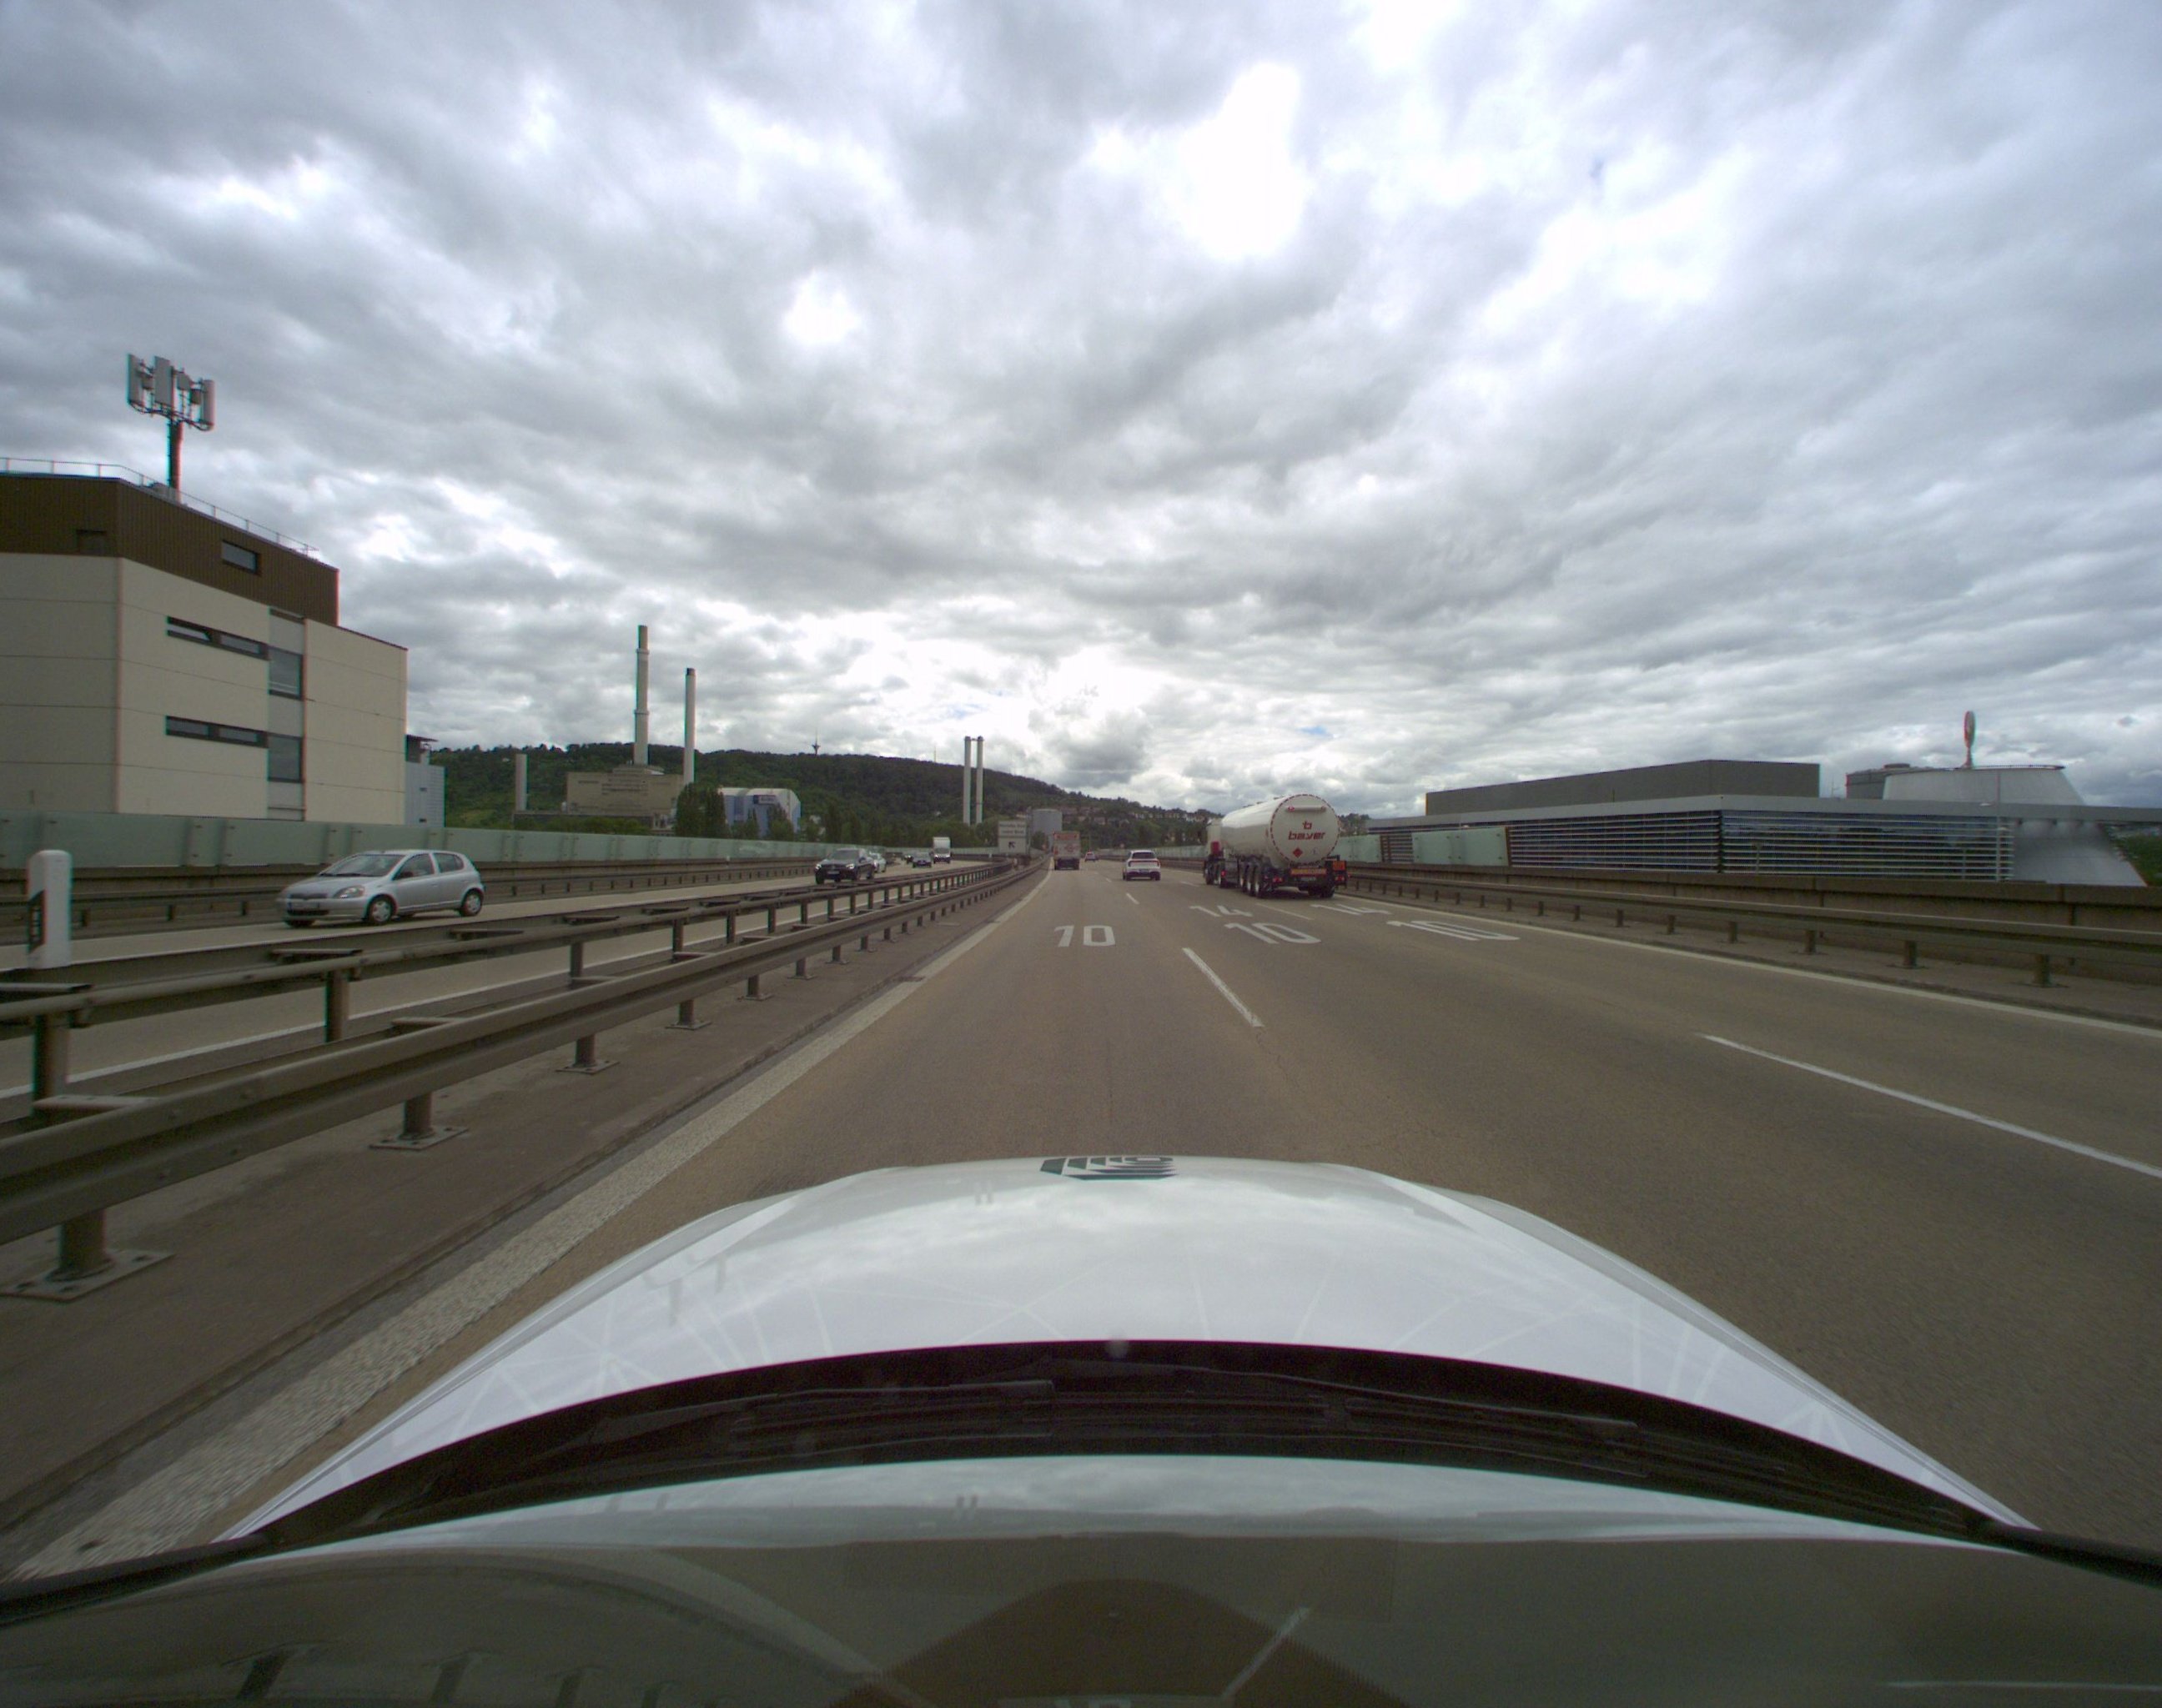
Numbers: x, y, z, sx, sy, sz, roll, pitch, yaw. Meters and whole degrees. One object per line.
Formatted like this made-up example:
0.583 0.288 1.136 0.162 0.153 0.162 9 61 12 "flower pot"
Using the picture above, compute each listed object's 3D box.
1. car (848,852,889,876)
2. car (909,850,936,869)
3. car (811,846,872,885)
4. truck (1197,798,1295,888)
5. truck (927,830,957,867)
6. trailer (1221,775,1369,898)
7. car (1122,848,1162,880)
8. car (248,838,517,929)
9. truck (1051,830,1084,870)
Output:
-15.340 0.710 58.958 1.989 1.675 4.404 -1 -1 -3 "car"
-15.216 0.533 78.384 1.989 1.675 4.402 -1 -1 -3 "car"
-11.167 0.525 38.285 1.991 1.675 4.398 -1 -1 -6 "car"
7.234 -0.418 36.600 3.005 3.657 6.270 -1 -1 -1 "truck"
-17.834 -0.668 105.055 3.051 4.562 8.291 -1 0 -4 "truck"
7.324 -0.520 29.345 3.048 3.790 8.300 -1 0 -1 "trailer"
3.378 0.555 45.761 1.986 1.675 4.409 -1 -1 1 "car"
-14.515 0.566 17.348 1.988 1.675 4.405 -1 -1 -2 "car"
-1.337 -0.372 79.540 3.048 3.691 8.298 -1 0 -1 "truck"
